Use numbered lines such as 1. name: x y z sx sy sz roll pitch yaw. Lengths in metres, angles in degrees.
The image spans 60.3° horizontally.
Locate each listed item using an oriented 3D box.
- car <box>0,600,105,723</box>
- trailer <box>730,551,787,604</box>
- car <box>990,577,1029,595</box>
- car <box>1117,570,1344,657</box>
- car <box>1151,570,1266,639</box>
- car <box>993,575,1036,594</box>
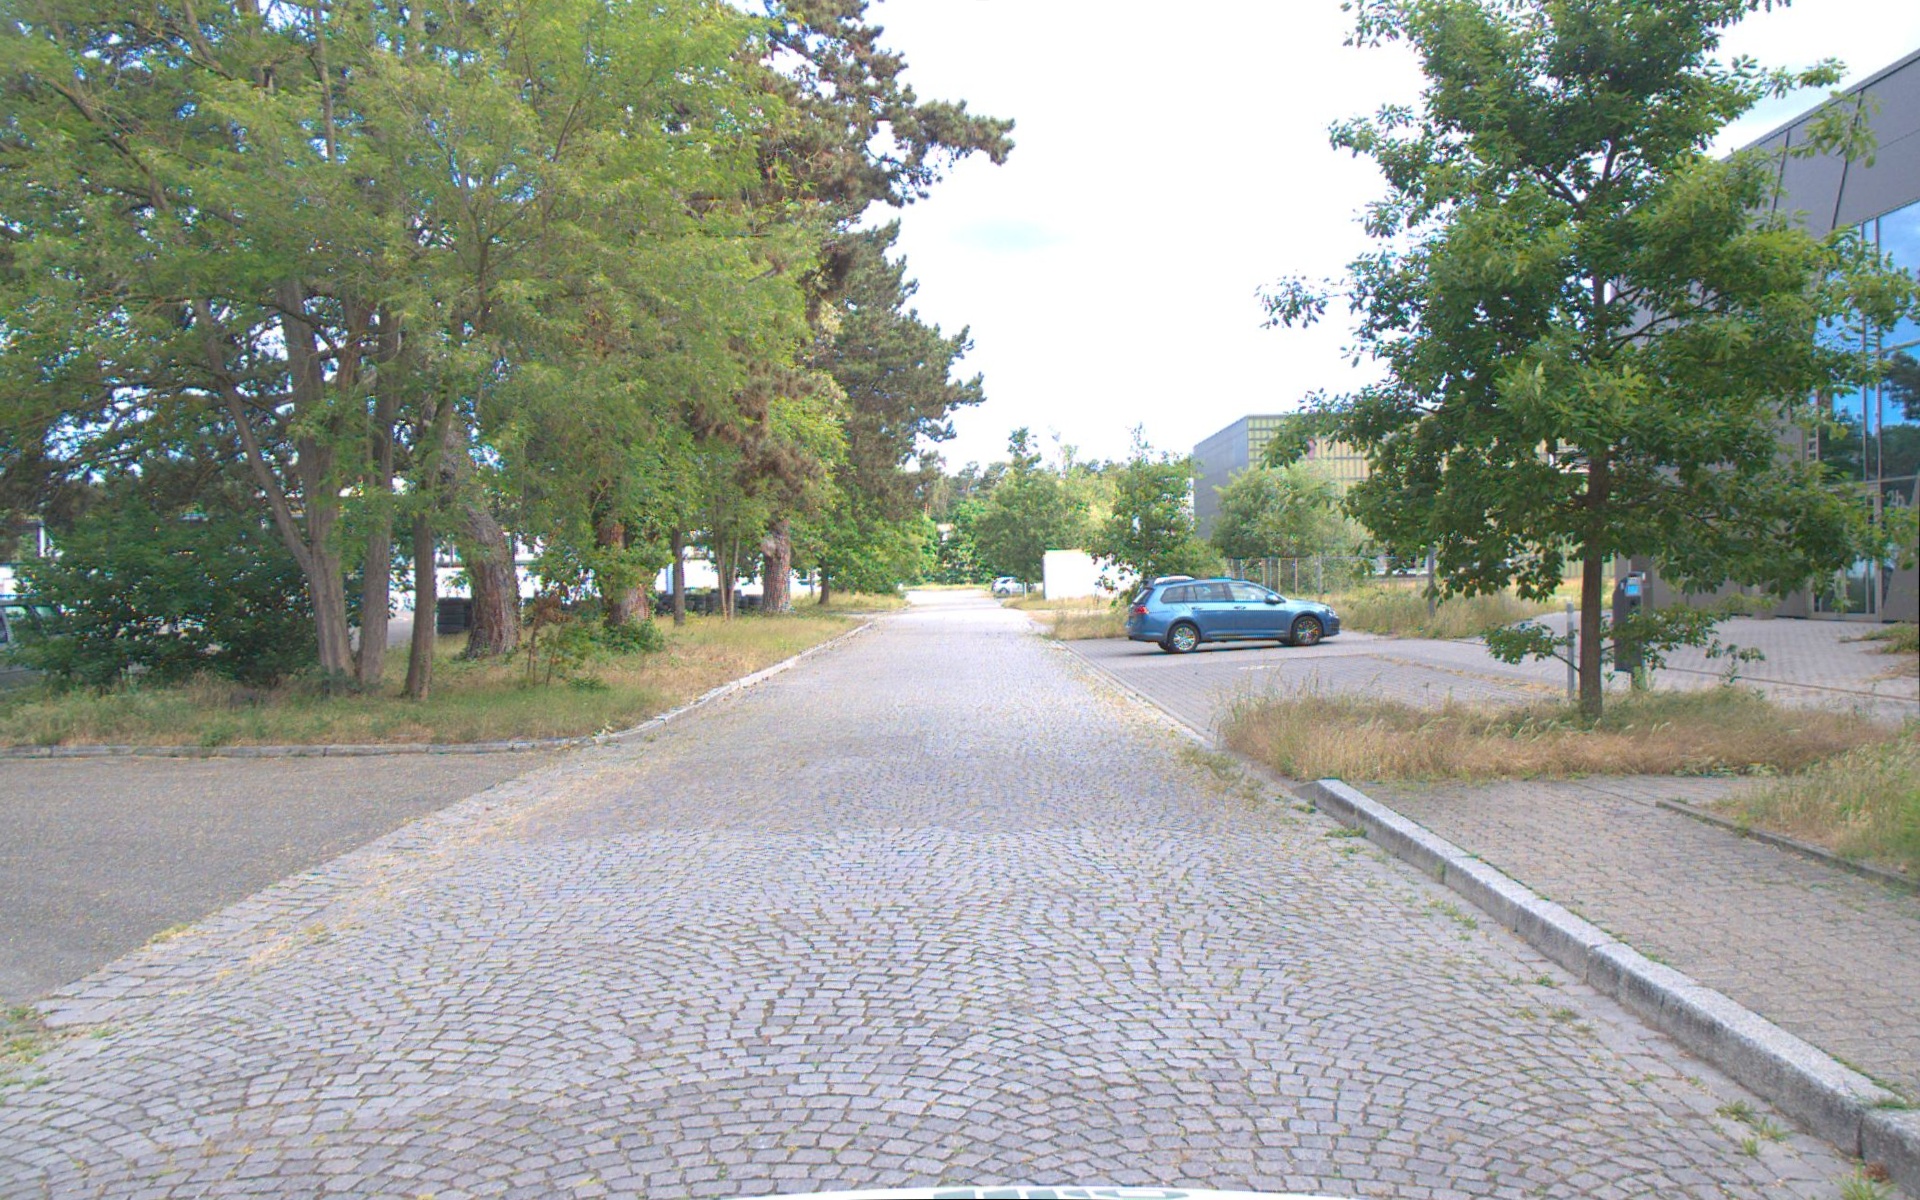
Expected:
1. car: -12.457 0.770 20.251 1.788 1.441 4.419 -1 1 -2
2. trailer: -14.765 -1.645 121.877 2.571 3.660 10.181 -1 1 2
3. car: 4.531 -1.301 152.072 3.450 1.386 1.622 -3 1 0
4. car: 5.654 0.260 34.920 4.401 1.501 1.830 -4 1 -3
5. car: 6.348 0.093 42.478 2.654 1.583 1.654 -3 1 1
6. car: 5.057 -1.454 154.767 3.903 1.473 1.653 -3 1 0
